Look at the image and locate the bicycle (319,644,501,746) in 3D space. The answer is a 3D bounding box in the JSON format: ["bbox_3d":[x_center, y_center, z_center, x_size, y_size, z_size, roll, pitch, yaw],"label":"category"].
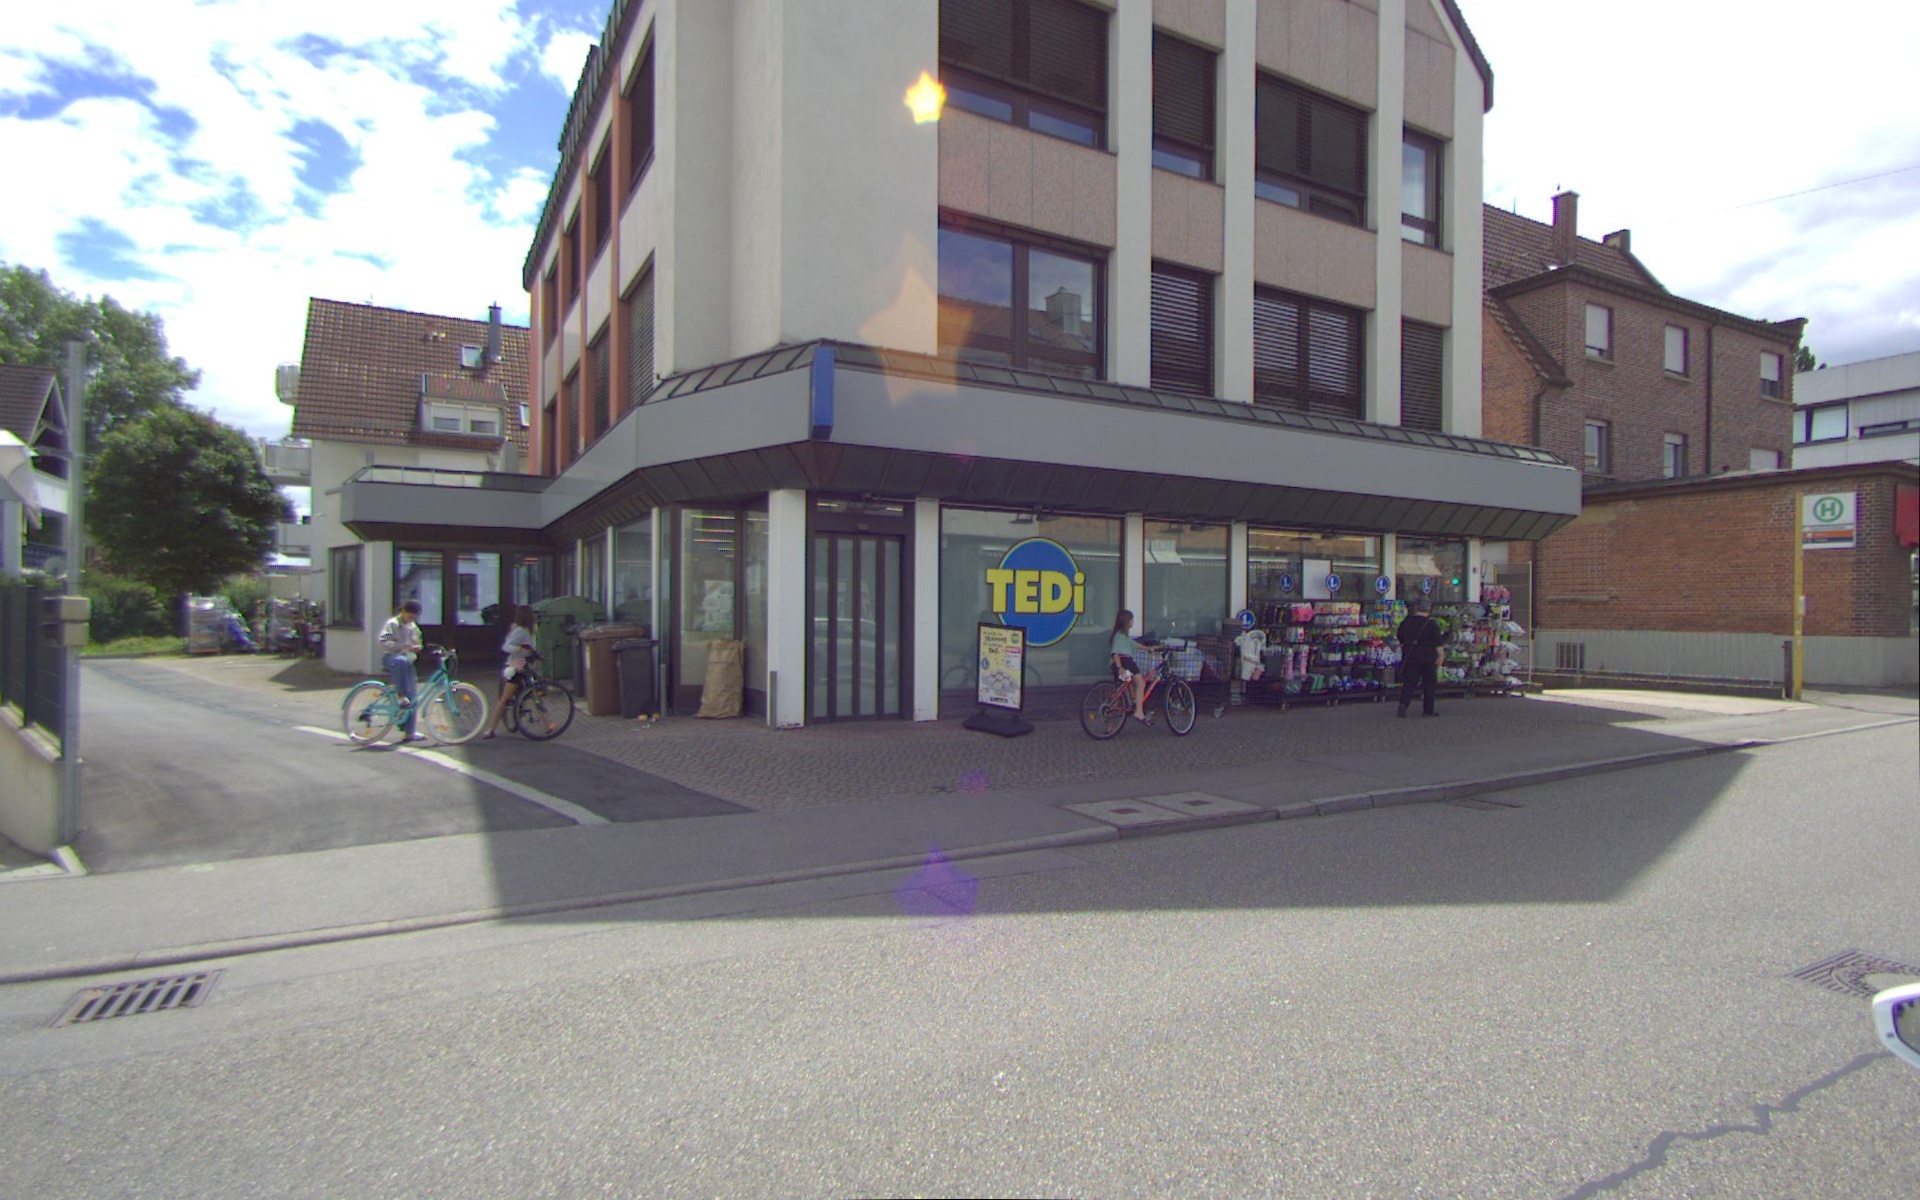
[{"bbox_3d":[-5.352,0.912,9.800,1.557,0.929,0.459,0,0,6],"label":"bicycle"}]

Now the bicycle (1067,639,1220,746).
[{"bbox_3d":[2.040,0.989,11.086,1.714,1.064,0.441,1,6,-31],"label":"bicycle"}]

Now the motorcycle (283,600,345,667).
[{"bbox_3d":[-15.849,0.788,24.738,0.849,1.539,3.778,1,-1,-26],"label":"motorcycle"}]

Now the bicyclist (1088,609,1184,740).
[{"bbox_3d":[1.950,0.805,11.180,0.753,1.355,0.664,0,4,-30],"label":"bicyclist"}]

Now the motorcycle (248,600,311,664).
[{"bbox_3d":[-17.507,0.783,25.919,0.849,1.539,3.595,1,-1,-26],"label":"motorcycle"}]

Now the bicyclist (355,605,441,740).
[{"bbox_3d":[-5.459,0.691,9.785,0.418,1.258,0.642,2,0,3],"label":"bicyclist"}]

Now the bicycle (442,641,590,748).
[{"bbox_3d":[-4.569,0.930,10.308,1.662,0.967,0.554,0,0,32],"label":"bicycle"}]

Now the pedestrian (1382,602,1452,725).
[{"bbox_3d":[6.137,0.837,13.519,0.757,1.579,0.574,2,0,20],"label":"pedestrian"}]

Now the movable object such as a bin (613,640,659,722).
[{"bbox_3d":[-3.850,0.954,11.939,0.438,0.923,0.405,-2,1,-30],"label":"movable object such as a bin"}]

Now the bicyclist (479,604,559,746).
[{"bbox_3d":[-4.506,0.743,10.271,0.417,1.384,0.587,0,1,32],"label":"bicyclist"}]

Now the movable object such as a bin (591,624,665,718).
[{"bbox_3d":[-4.143,0.866,12.528,0.729,1.080,0.680,-2,1,-30],"label":"movable object such as a bin"}]
